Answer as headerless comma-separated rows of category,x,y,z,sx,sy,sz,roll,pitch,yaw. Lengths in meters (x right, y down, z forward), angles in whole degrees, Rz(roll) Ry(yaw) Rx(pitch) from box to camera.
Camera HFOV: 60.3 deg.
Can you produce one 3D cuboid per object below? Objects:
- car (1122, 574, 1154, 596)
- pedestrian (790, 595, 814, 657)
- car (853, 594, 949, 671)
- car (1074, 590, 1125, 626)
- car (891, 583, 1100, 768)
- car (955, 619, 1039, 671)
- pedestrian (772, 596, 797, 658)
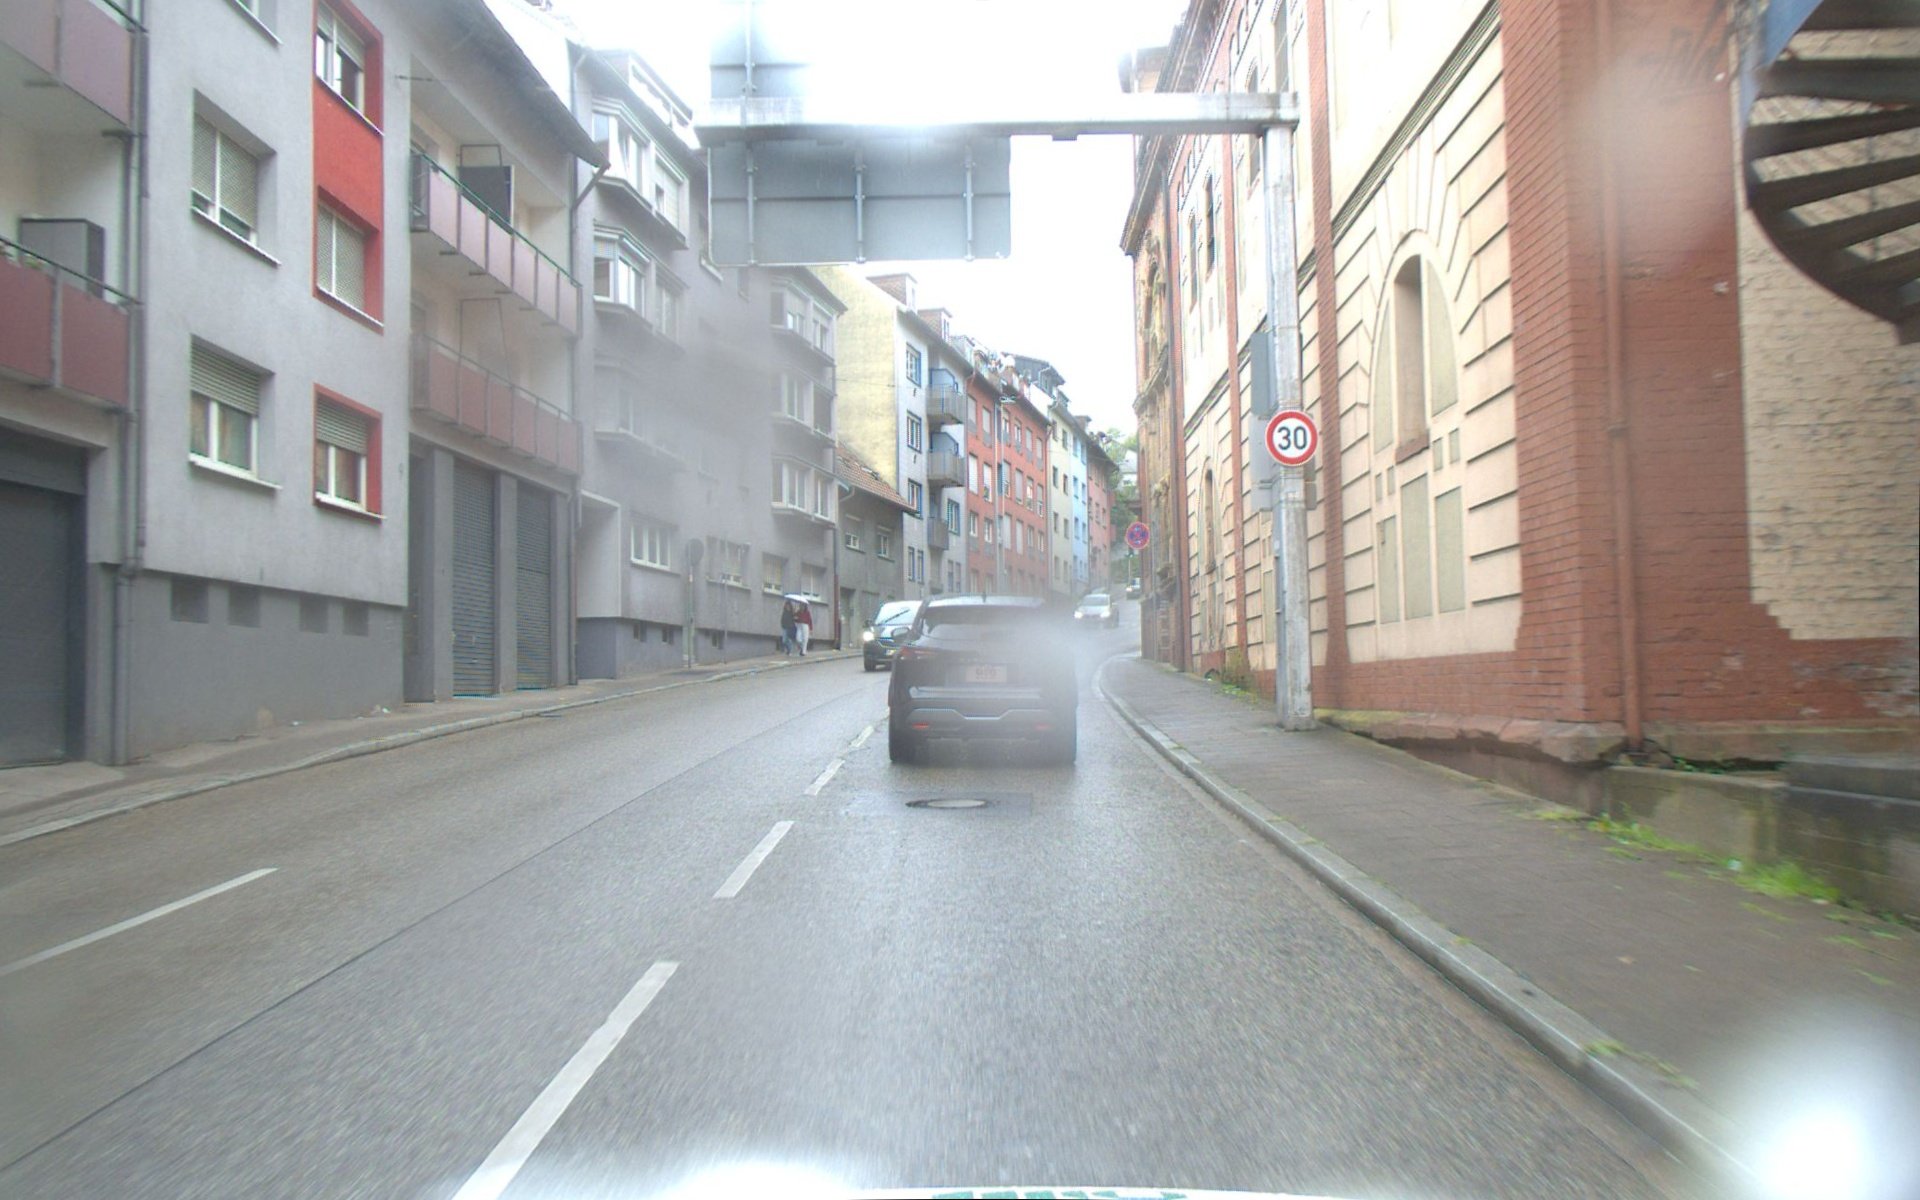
car,12.863,-1.074,119.372,1.610,1.402,3.854,-4,0,16
pedestrian,-4.707,0.774,49.326,0.512,1.807,0.623,-3,0,7
car,-1.356,0.745,39.830,1.727,1.686,3.990,-2,0,6
car,6.714,0.359,79.190,1.727,1.604,4.039,-3,0,15
car,0.346,0.668,16.730,1.842,1.621,3.921,1,0,1
car,1.235,1.469,53.692,1.756,1.537,4.002,-3,-2,15
pedestrian,-5.233,0.801,49.385,0.512,1.807,0.623,-3,0,7
